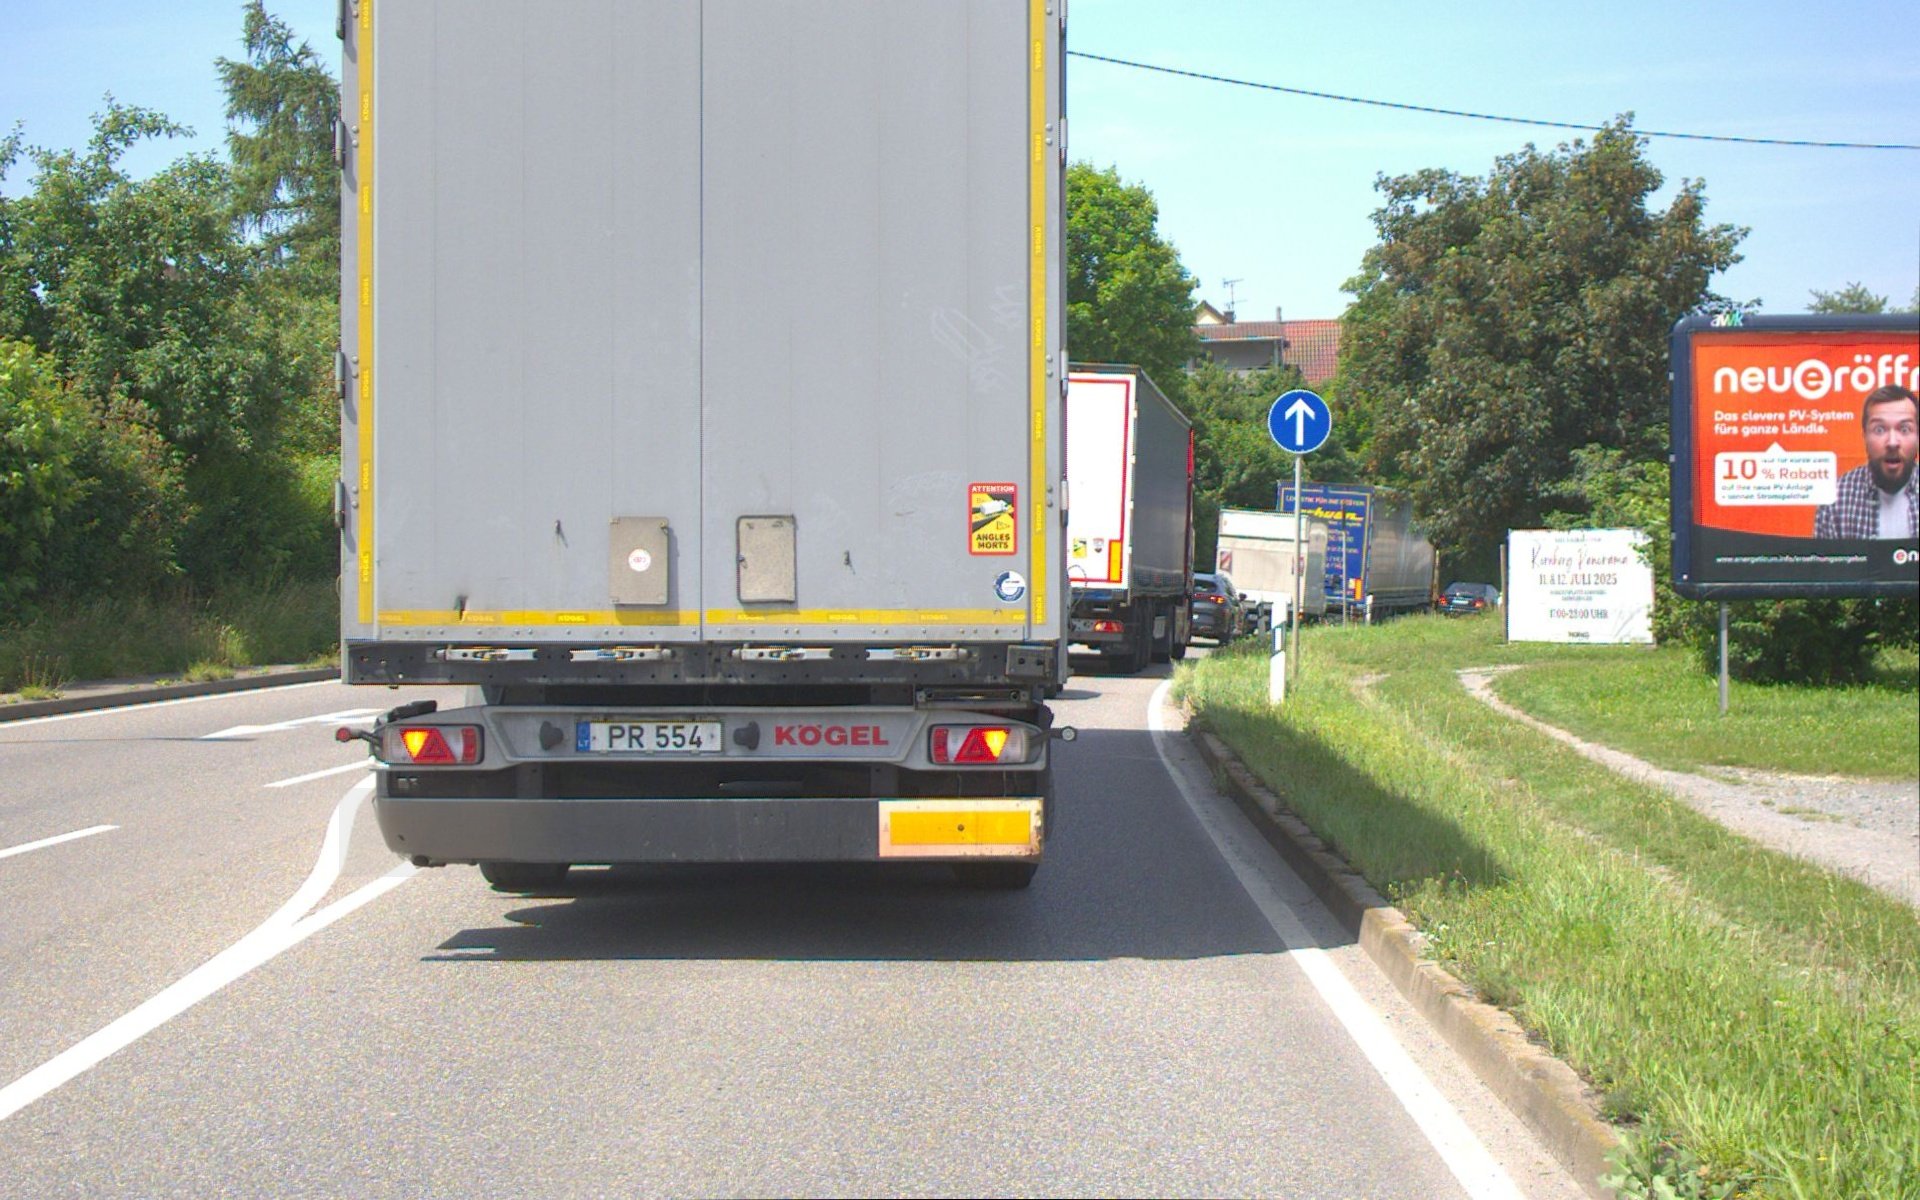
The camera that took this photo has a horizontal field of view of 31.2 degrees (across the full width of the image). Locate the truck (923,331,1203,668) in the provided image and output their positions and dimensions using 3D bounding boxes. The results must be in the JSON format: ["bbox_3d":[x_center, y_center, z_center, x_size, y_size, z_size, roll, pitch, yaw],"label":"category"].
[{"bbox_3d":[1.883,-1.310,52.073,2.761,4.274,16.411,1,0,7],"label":"truck"}]

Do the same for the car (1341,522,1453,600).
[{"bbox_3d":[13.374,-1.216,104.808,2.533,2.269,6.377,1,1,15],"label":"car"}]

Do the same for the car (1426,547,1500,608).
[{"bbox_3d":[17.036,-0.759,116.286,1.995,2.007,3.997,1,0,15],"label":"car"}]

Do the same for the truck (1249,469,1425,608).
[{"bbox_3d":[10.443,-1.719,94.293,3.435,3.592,9.348,1,1,15],"label":"truck"}]

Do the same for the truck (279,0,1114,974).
[{"bbox_3d":[-0.747,-0.920,17.457,2.822,4.113,11.443,1,1,2],"label":"truck"}]

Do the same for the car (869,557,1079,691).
[{"bbox_3d":[0.206,0.236,37.061,1.819,1.342,3.846,1,0,7],"label":"car"}]

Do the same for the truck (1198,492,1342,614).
[{"bbox_3d":[7.527,-1.100,82.884,2.545,2.793,6.028,1,0,14],"label":"truck"}]

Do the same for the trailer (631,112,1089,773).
[{"bbox_3d":[-0.557,-1.046,24.637,2.825,4.097,6.544,0,1,1],"label":"trailer"}]

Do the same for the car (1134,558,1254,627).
[{"bbox_3d":[4.921,-0.163,71.944,1.994,1.371,3.998,1,0,11],"label":"car"}]
